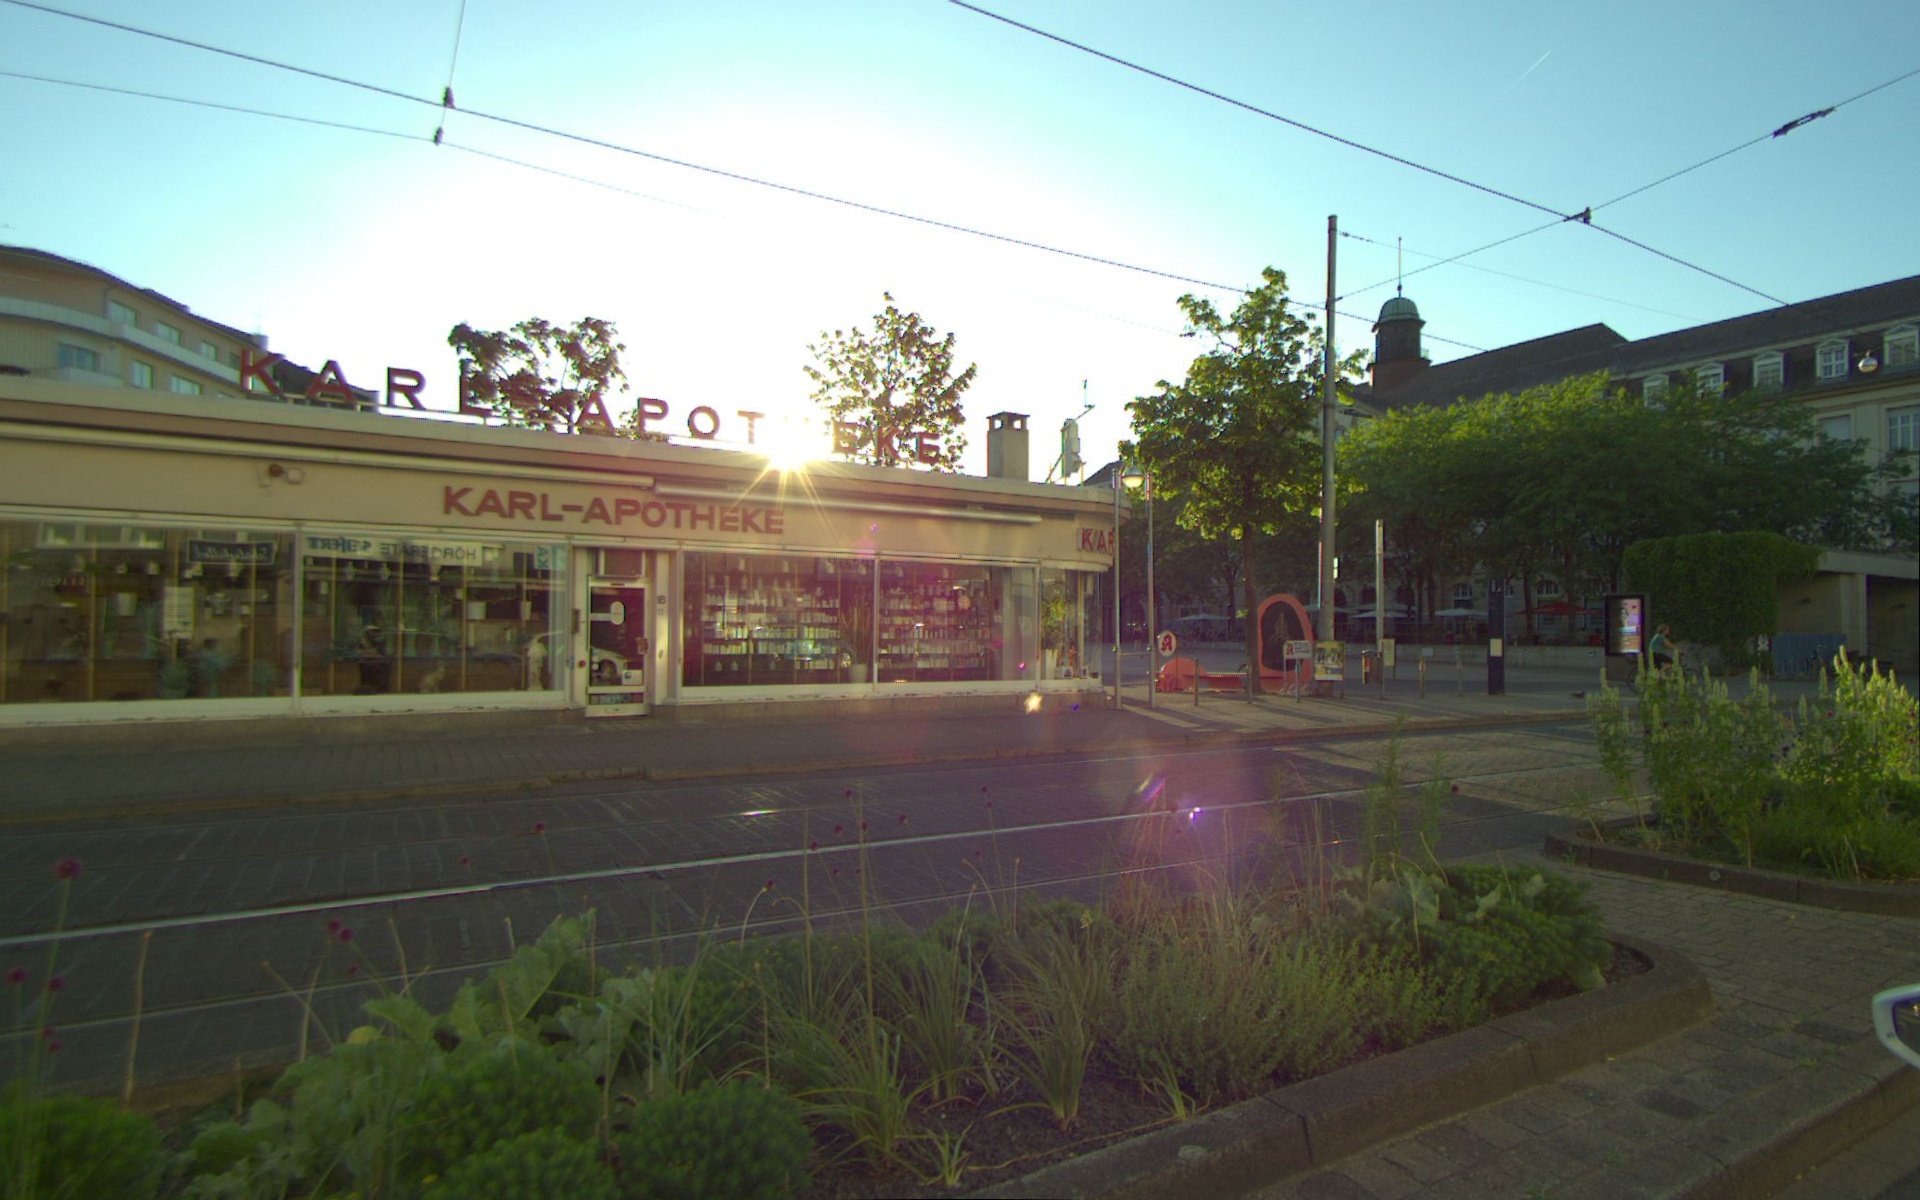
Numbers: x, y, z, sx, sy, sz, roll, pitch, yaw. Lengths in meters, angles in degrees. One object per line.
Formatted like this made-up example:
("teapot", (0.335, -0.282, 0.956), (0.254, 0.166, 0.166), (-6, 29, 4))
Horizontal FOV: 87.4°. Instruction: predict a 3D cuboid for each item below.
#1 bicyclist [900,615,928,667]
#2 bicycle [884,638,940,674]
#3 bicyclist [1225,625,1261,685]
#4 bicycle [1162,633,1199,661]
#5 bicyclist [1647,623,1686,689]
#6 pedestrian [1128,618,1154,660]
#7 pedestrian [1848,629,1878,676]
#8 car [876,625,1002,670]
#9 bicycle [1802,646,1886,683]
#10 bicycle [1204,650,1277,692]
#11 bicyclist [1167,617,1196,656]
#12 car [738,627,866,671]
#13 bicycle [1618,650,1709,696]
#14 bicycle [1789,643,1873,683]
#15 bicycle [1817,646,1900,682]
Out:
("bicyclist", (-1.434, 1.293, 31.633), (0.688, 1.597, 0.755), (1, -3, 11))
("bicycle", (-1.509, 1.759, 31.563), (1.676, 1.126, 0.496), (0, -3, 12))
("bicyclist", (7.893, 1.520, 28.047), (0.788, 1.632, 0.738), (1, -2, 29))
("bicycle", (11.890, 2.511, 54.210), (0.573, 1.495, 2.230), (2, -3, -31))
("bicyclist", (18.441, 1.454, 26.237), (0.691, 1.690, 0.628), (1, -3, 21))
("pedestrian", (9.260, 1.988, 51.325), (0.922, 2.088, 0.931), (1, -1, -35))
("pedestrian", (38.825, 2.262, 43.190), (0.782, 1.959, 0.721), (3, -3, -27))
("car", (-0.801, 1.881, 39.303), (4.626, 1.585, 1.790), (4, -3, -30))
("bicycle", (31.796, 2.306, 36.173), (0.573, 1.271, 2.231), (3, -3, -30))
("bicycle", (7.816, 1.960, 28.035), (1.893, 1.126, 0.460), (-1, -3, 29))
("bicyclist", (11.951, 1.972, 54.137), (1.130, 2.044, 0.954), (3, -3, -31))
("car", (-5.672, 1.756, 36.157), (4.199, 1.427, 1.648), (3, -3, -29))
("bicycle", (18.378, 1.894, 26.275), (1.898, 1.126, 0.461), (1, -3, 20))
("bicycle", (30.564, 2.199, 35.291), (0.573, 1.317, 2.187), (3, -3, -30))
("bicycle", (33.166, 2.353, 37.107), (0.578, 1.248, 2.231), (2, -2, -30))
